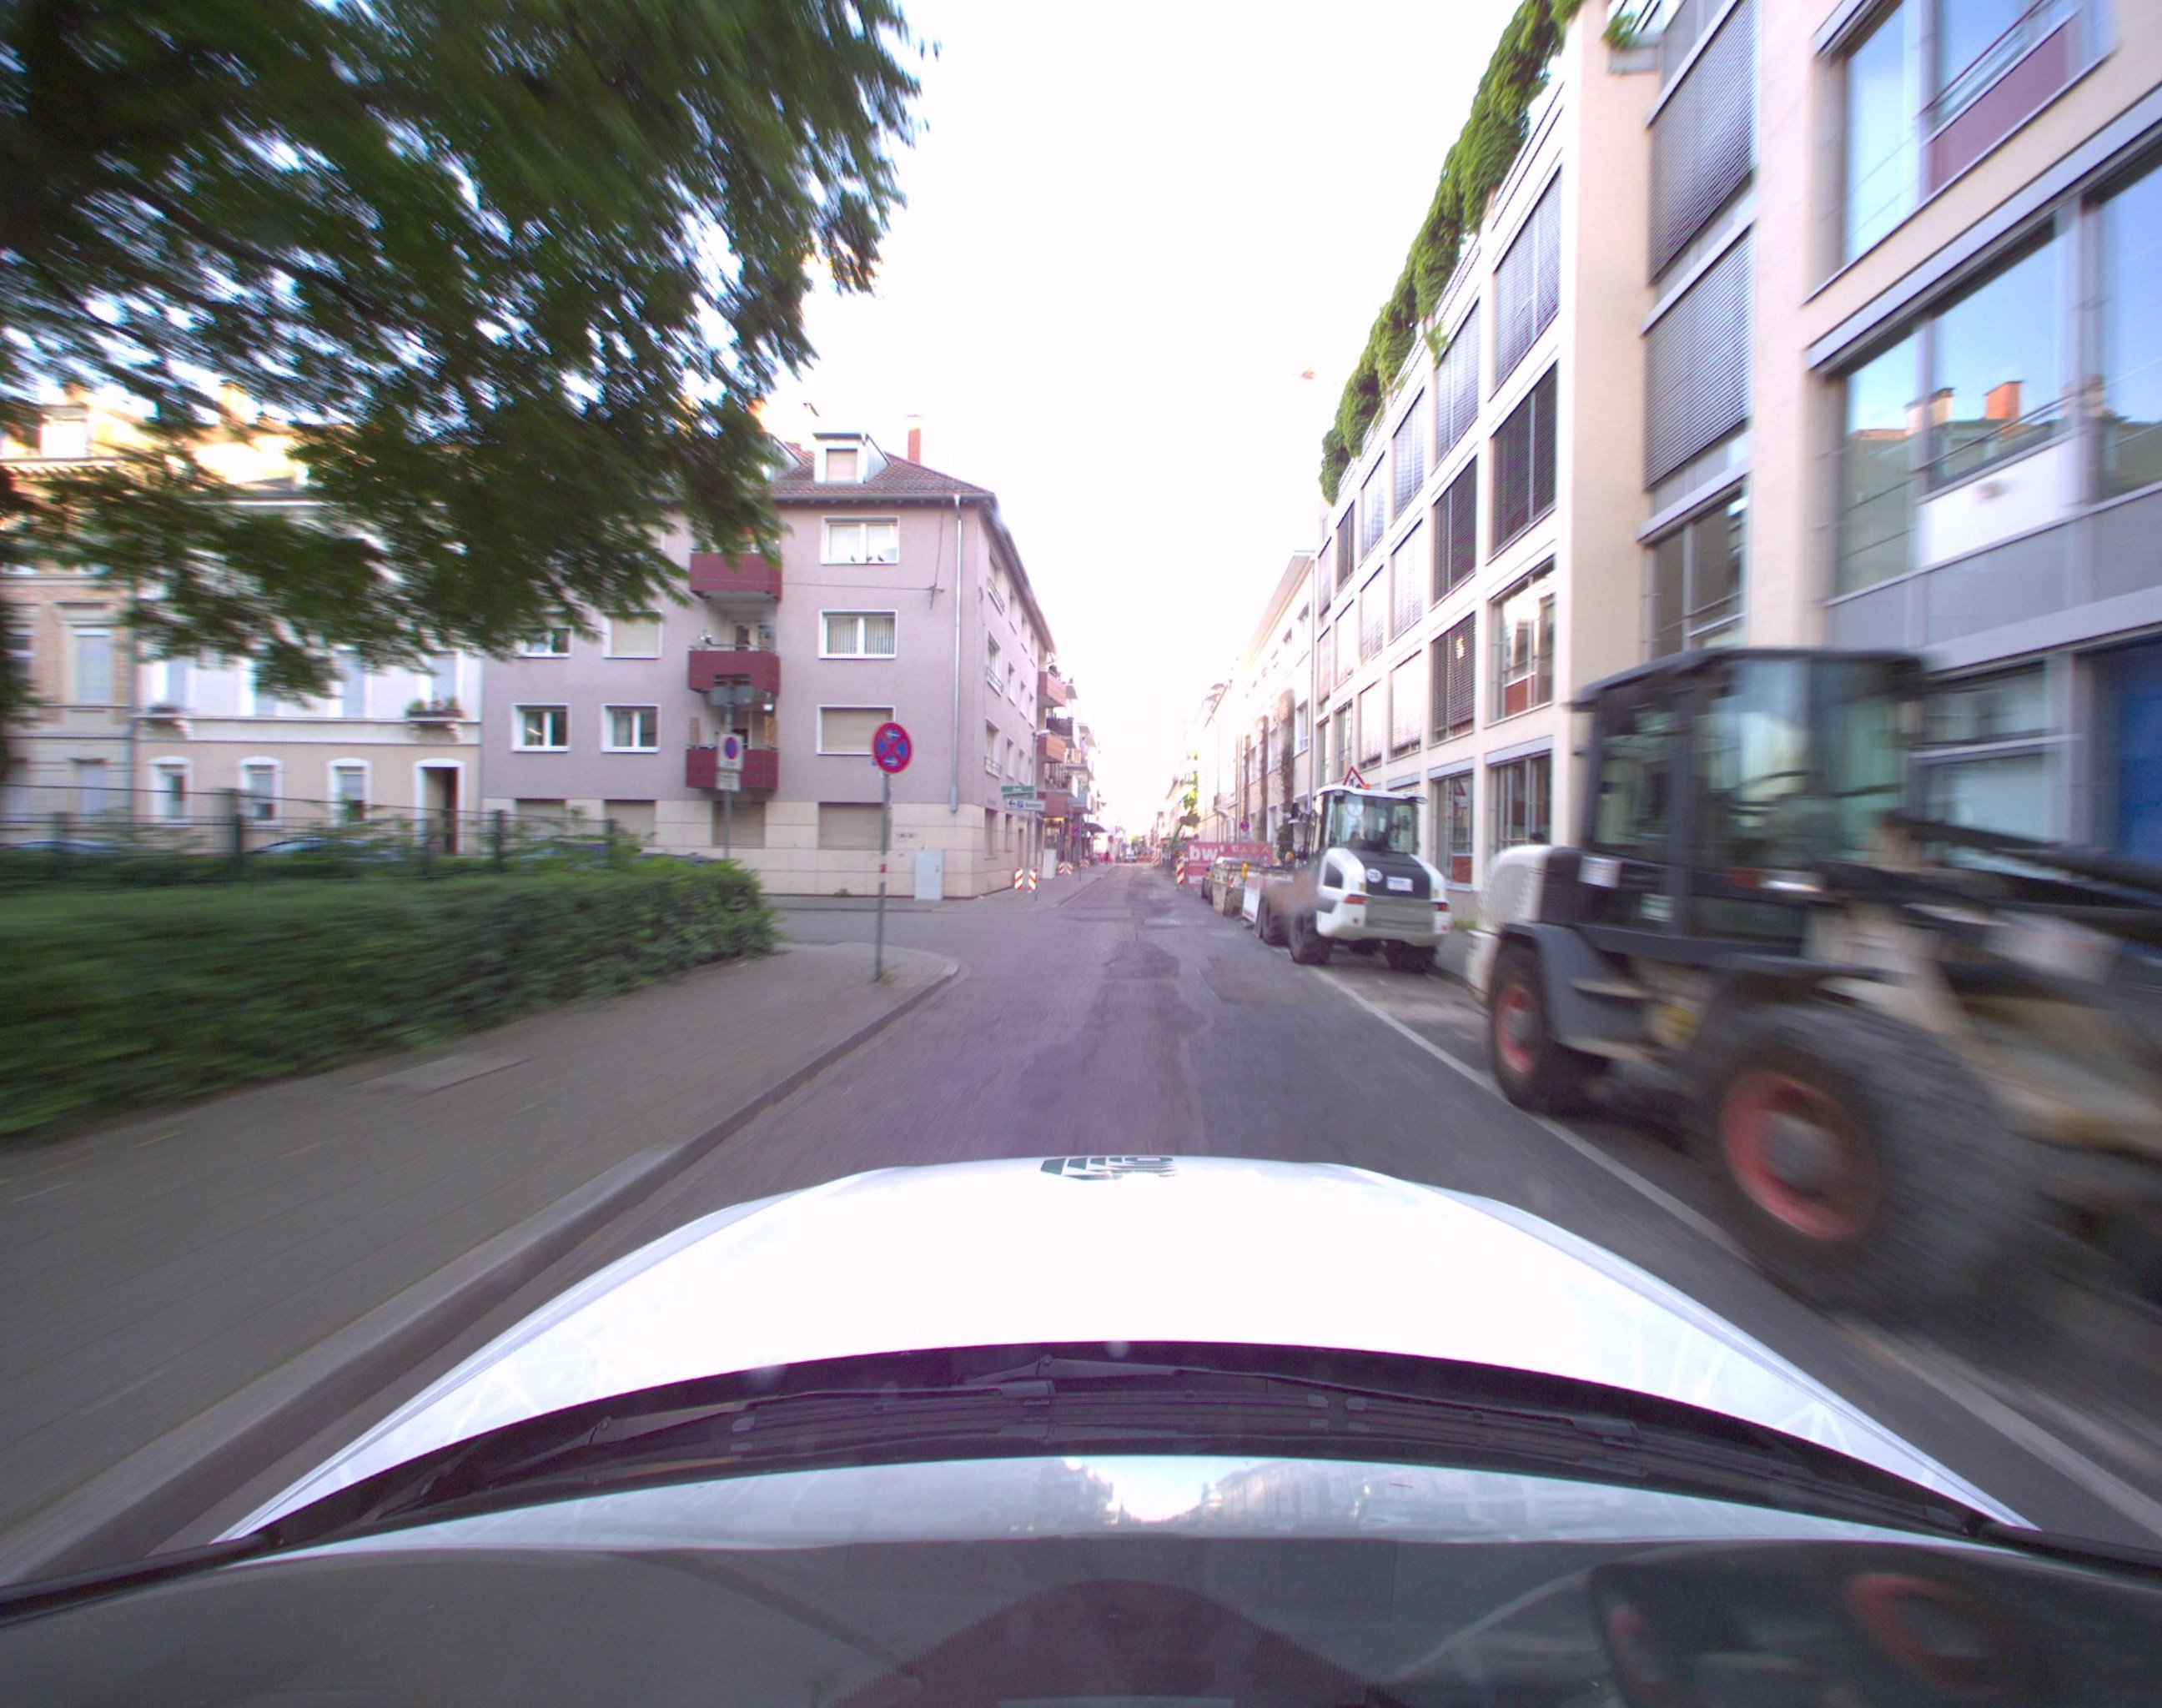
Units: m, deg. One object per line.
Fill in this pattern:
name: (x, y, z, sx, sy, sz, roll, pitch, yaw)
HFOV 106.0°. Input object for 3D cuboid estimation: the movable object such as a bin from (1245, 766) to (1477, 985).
movable object such as a bin: (4.056, 0.213, 13.021, 2.007, 2.623, 5.758, 3, 1, 4)

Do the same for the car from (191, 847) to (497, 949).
car: (-13.295, 0.747, 14.839, 4.094, 1.704, 1.729, 1, 0, 4)

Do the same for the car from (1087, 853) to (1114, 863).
car: (2.520, 0.515, 104.235, 3.497, 1.275, 1.475, 0, 0, 1)

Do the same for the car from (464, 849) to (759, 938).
car: (-8.439, 0.676, 14.892, 4.354, 1.482, 1.728, 1, 0, 1)

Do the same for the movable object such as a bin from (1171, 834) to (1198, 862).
movable object such as a bin: (10.966, -0.619, 86.699, 2.593, 2.839, 4.455, 0, 0, 4)

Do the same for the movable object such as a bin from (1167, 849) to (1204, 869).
movable object such as a bin: (9.219, 0.374, 72.552, 2.724, 1.638, 7.559, 1, 0, 3)

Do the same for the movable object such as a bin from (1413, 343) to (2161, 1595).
movable object such as a bin: (3.409, 0.243, 3.370, 2.007, 2.623, 5.758, 3, 1, 4)

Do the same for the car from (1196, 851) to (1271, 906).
car: (4.760, 0.702, 25.949, 1.779, 1.471, 4.451, 3, 1, 4)

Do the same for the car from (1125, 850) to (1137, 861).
car: (7.426, 0.213, 120.832, 1.624, 1.550, 3.143, 0, 0, 1)

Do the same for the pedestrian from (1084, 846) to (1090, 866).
pedestrian: (0.523, 0.150, 74.374, 0.529, 1.834, 0.562, 0, 0, -2)

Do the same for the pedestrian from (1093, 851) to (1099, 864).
pedestrian: (1.585, 0.369, 84.909, 0.570, 1.275, 0.714, 2, 1, 4)

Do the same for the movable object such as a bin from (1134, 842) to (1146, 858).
movable object such as a bin: (10.534, -0.704, 145.954, 2.147, 2.663, 4.577, 1, 0, 4)

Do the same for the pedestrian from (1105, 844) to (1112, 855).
pedestrian: (3.097, -0.504, 91.119, 0.699, 1.275, 0.714, 1, 0, 4)

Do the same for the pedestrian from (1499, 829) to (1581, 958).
pedestrian: (6.676, 0.553, 11.877, 0.801, 1.819, 0.722, 0, 0, 3)

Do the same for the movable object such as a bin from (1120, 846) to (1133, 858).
movable object such as a bin: (7.640, -0.349, 135.985, 1.984, 2.013, 4.005, 0, 0, 4)

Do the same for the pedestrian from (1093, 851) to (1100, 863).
pedestrian: (1.643, 0.295, 86.124, 0.570, 1.275, 0.714, 3, 1, 4)
